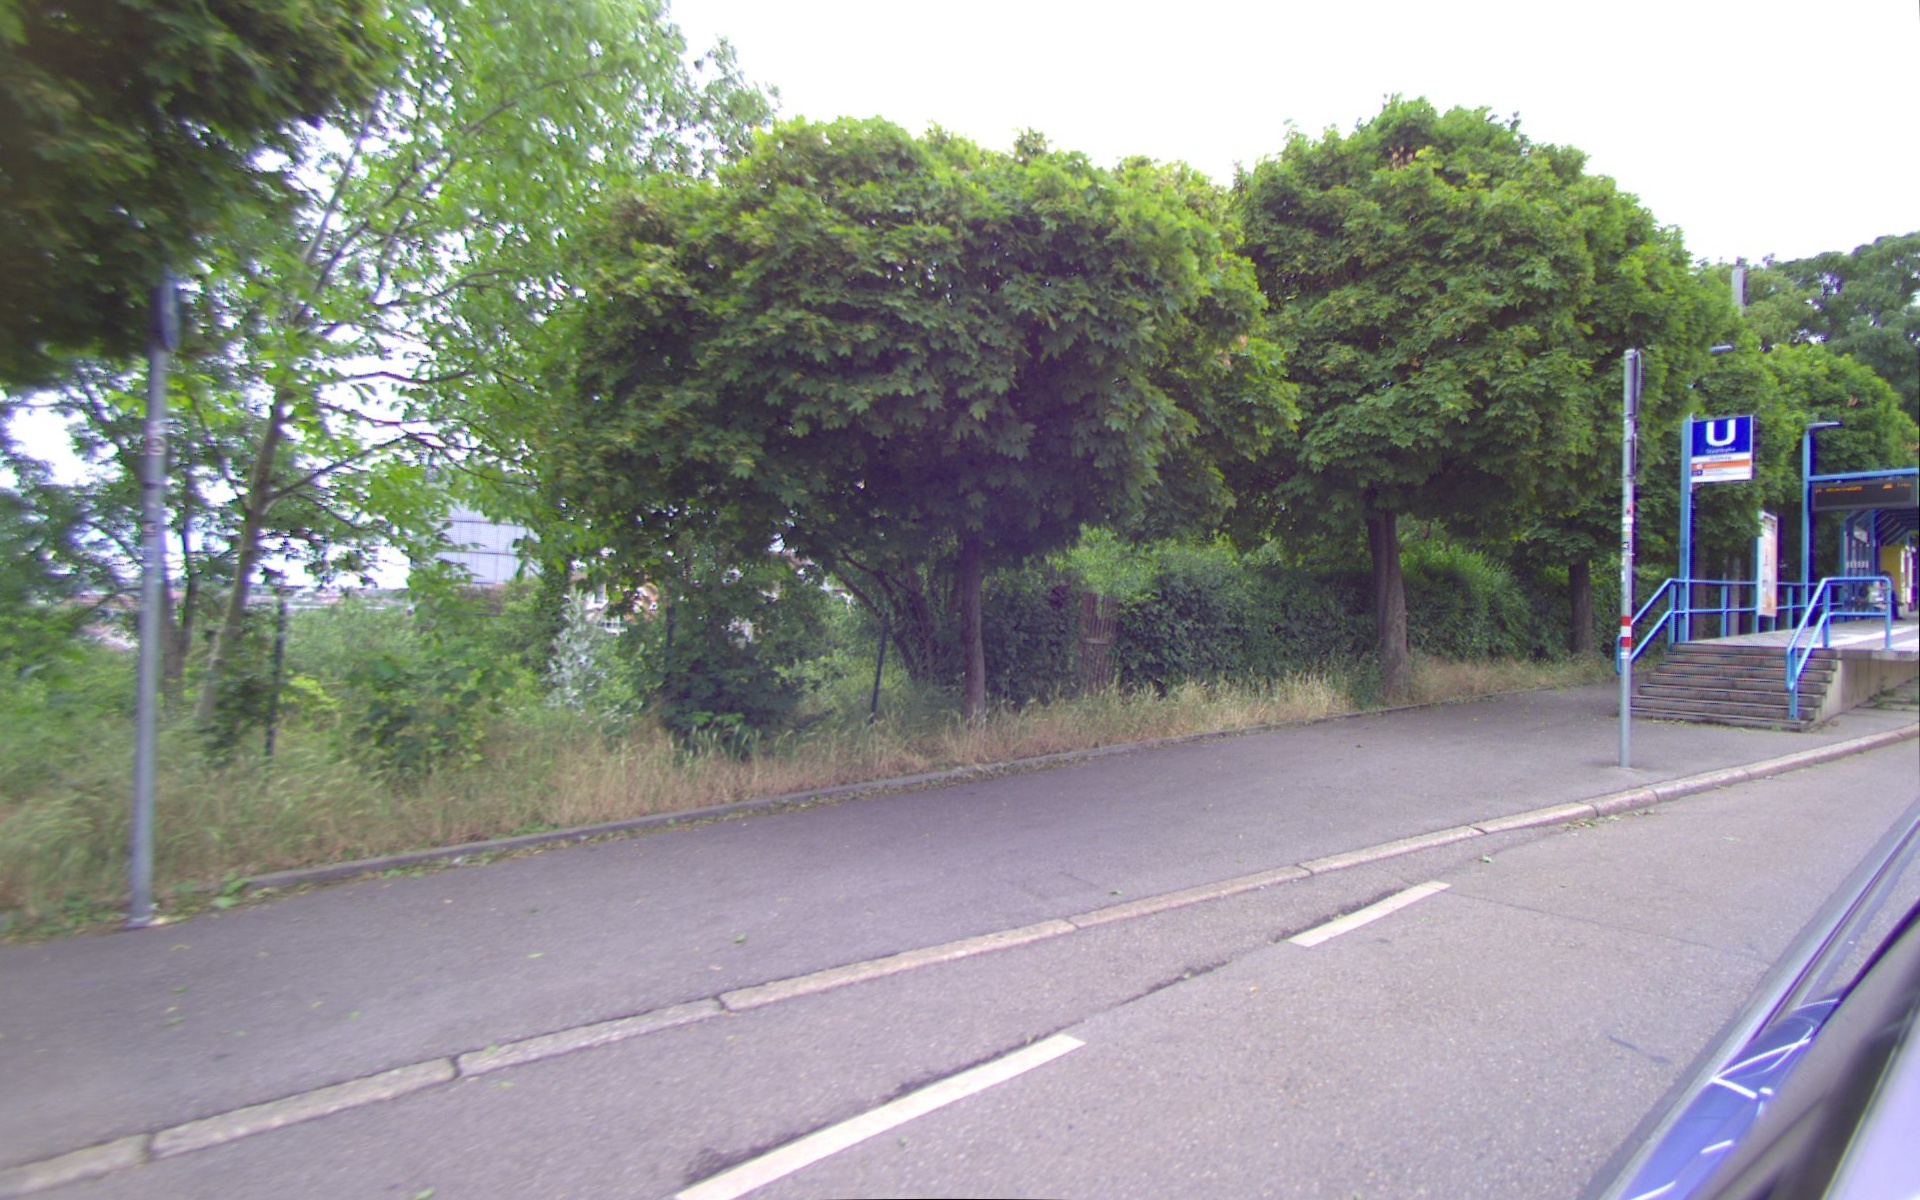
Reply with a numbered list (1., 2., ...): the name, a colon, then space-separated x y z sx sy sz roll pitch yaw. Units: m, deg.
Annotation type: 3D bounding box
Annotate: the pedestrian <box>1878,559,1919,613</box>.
1. pedestrian: 23.630 -0.340 25.408 0.645 1.331 0.780 0 0 -40
